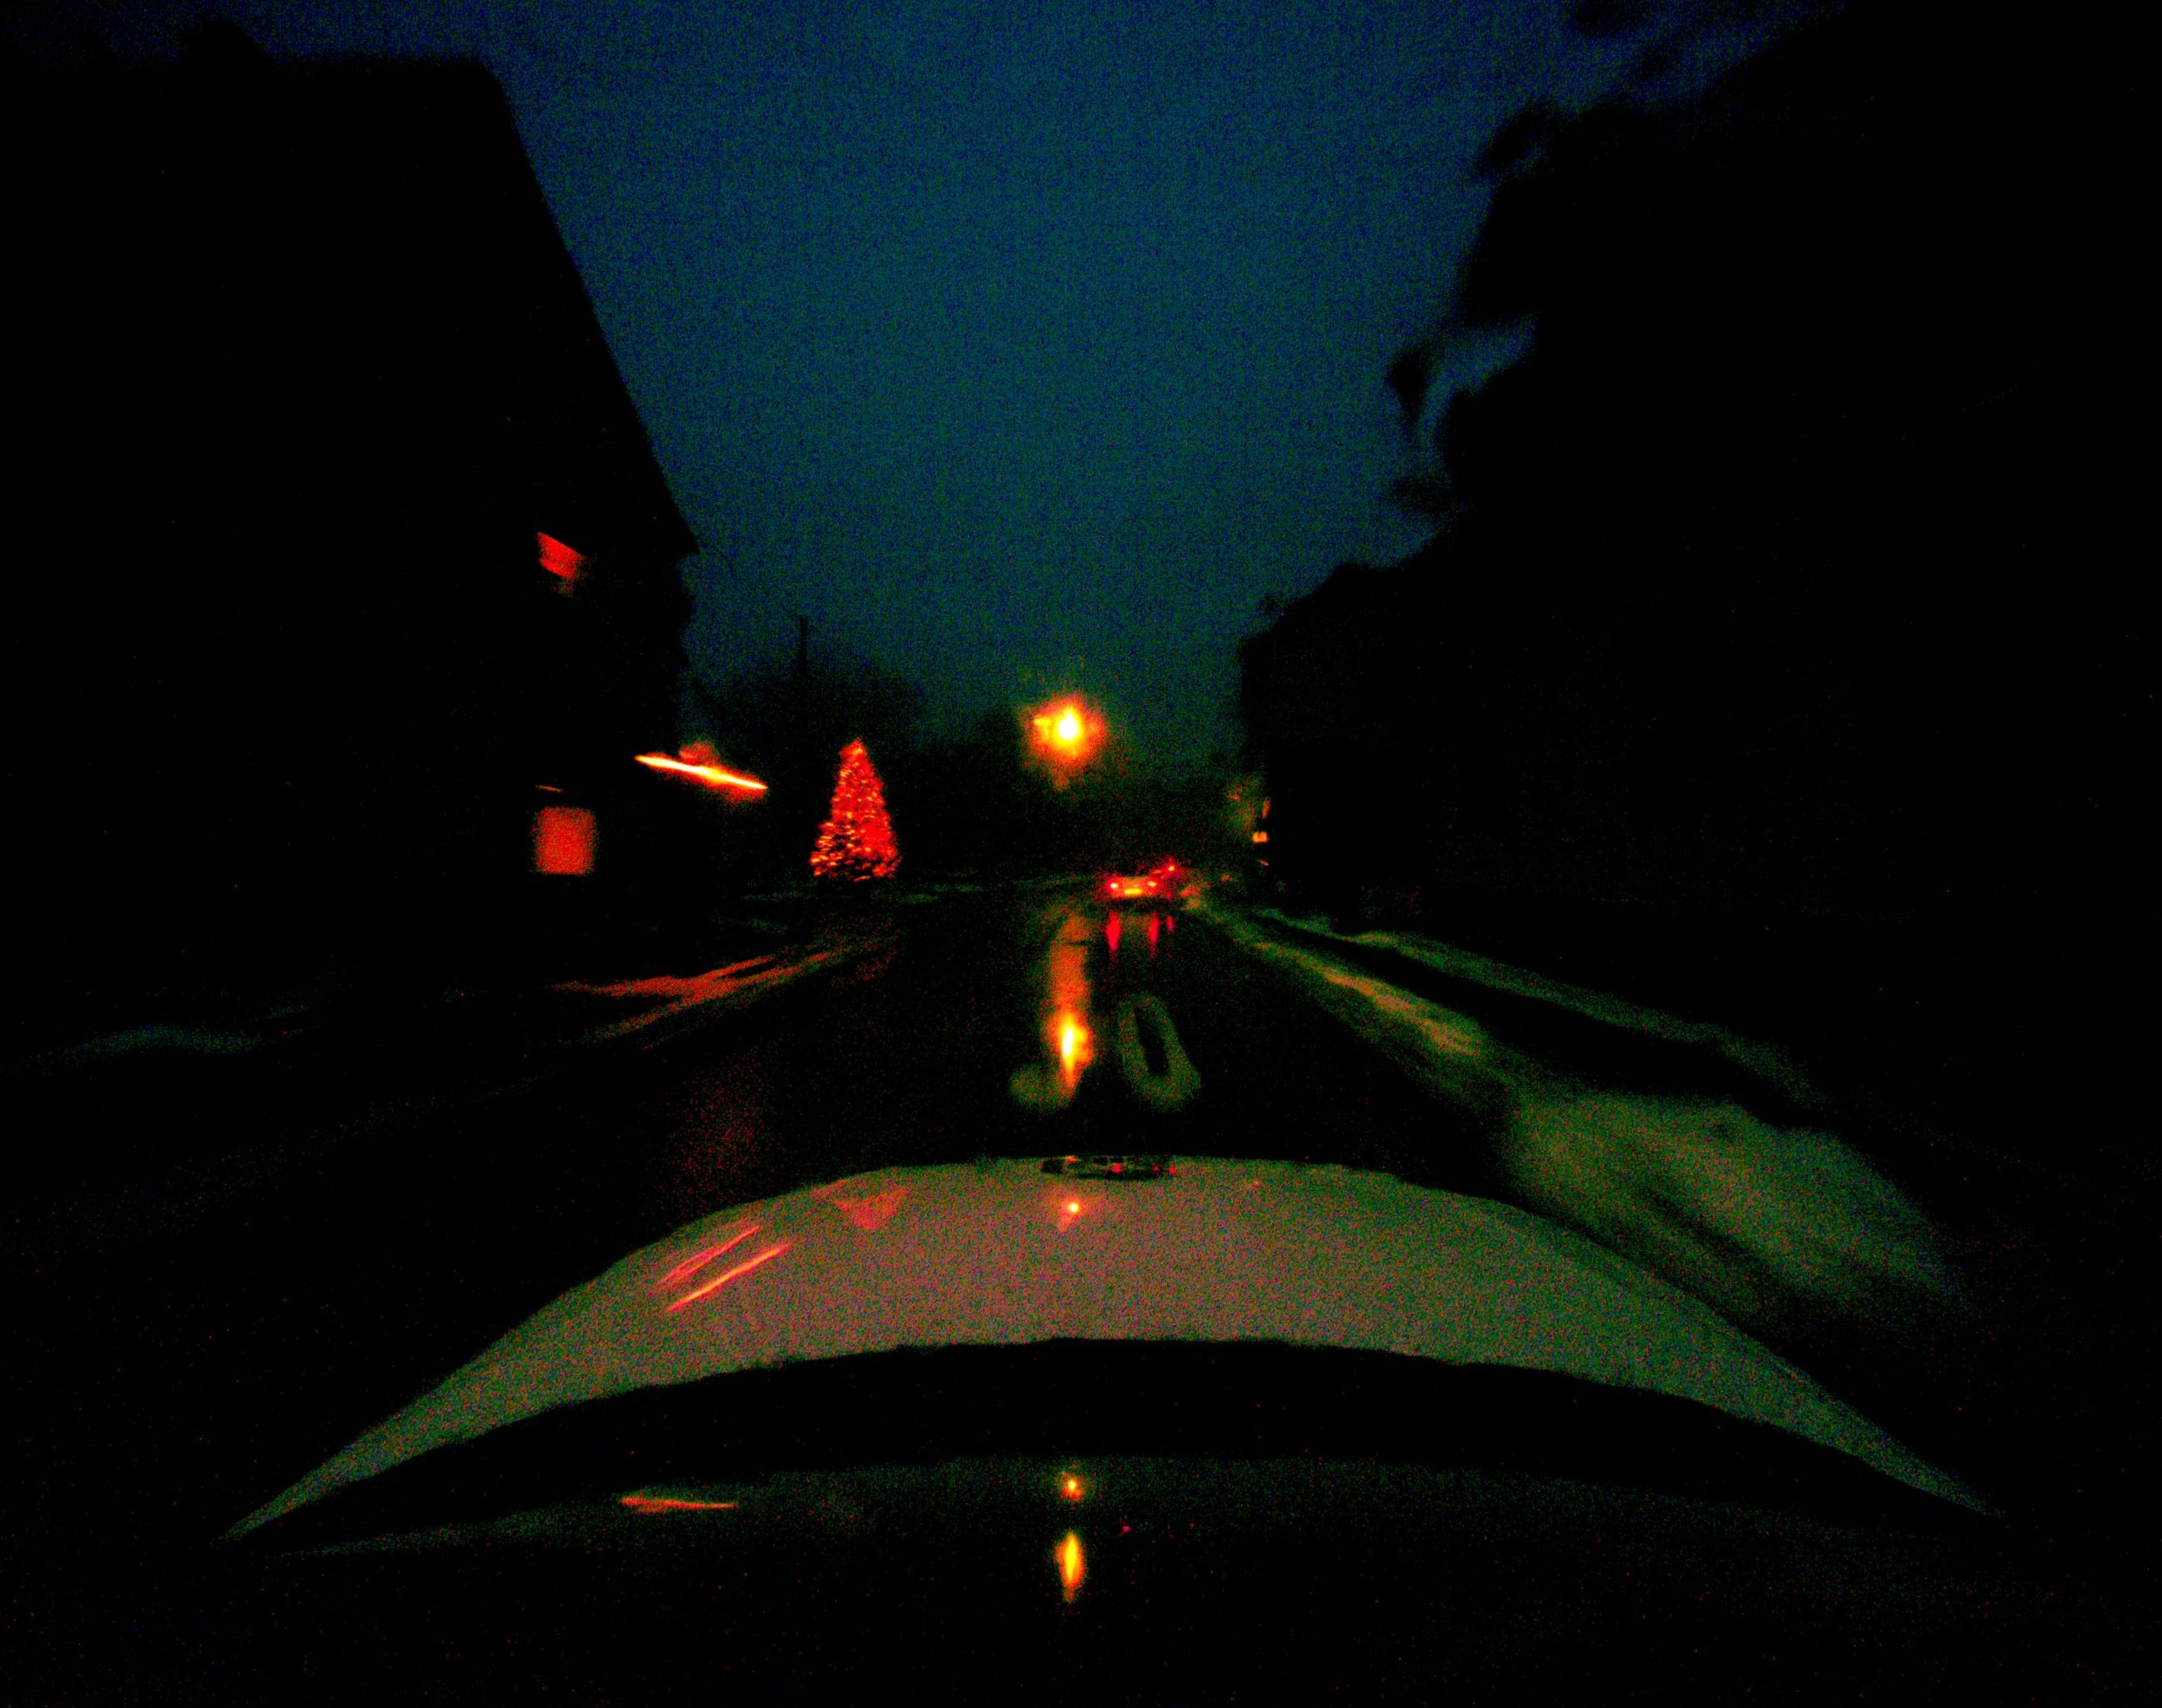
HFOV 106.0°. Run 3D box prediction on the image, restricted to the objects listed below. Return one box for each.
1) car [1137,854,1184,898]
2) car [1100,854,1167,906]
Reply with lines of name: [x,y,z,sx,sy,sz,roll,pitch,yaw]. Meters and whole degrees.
car: [4.045,1.146,40.895,1.981,2.014,4.010,2,-3,10]
car: [1.811,0.898,27.045,1.984,1.508,4.005,3,-3,5]
